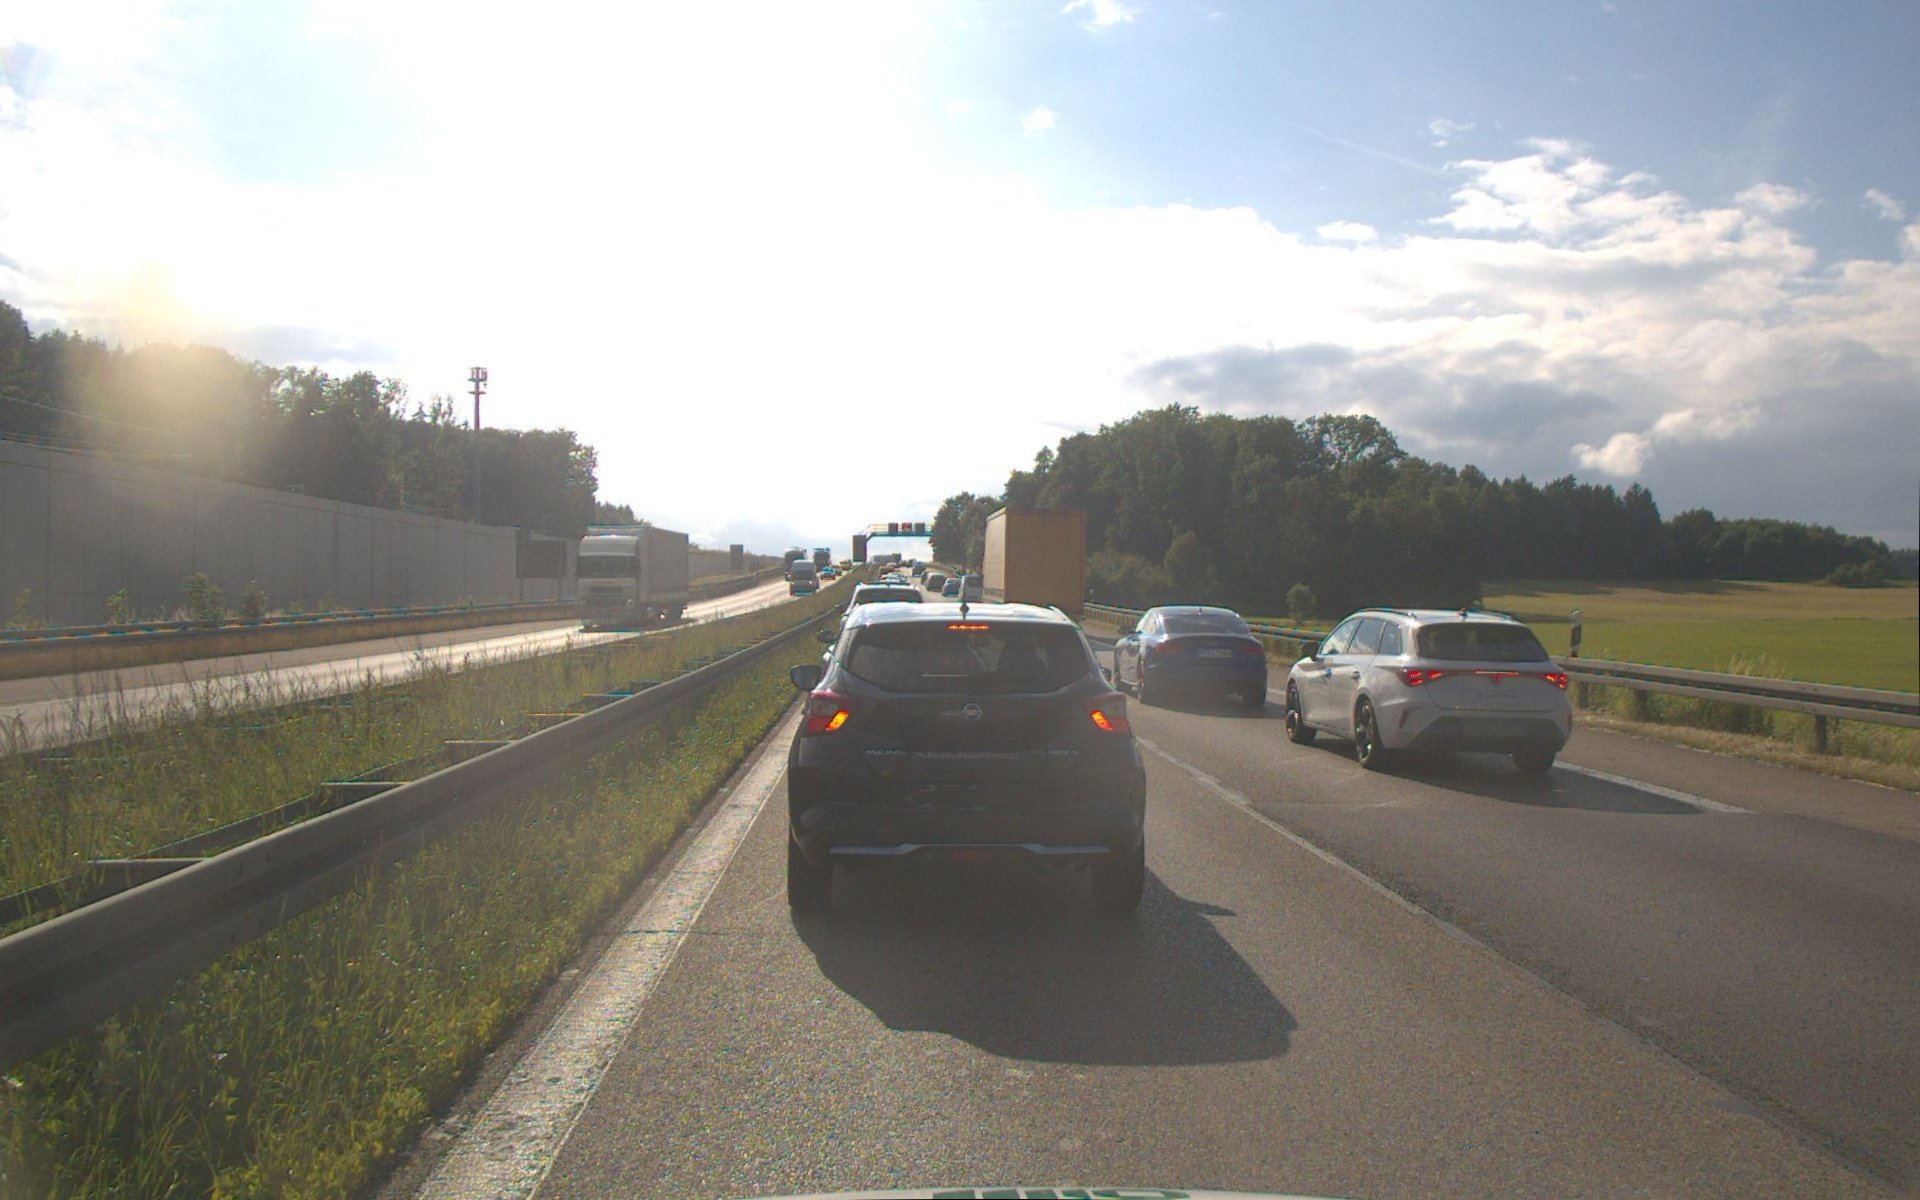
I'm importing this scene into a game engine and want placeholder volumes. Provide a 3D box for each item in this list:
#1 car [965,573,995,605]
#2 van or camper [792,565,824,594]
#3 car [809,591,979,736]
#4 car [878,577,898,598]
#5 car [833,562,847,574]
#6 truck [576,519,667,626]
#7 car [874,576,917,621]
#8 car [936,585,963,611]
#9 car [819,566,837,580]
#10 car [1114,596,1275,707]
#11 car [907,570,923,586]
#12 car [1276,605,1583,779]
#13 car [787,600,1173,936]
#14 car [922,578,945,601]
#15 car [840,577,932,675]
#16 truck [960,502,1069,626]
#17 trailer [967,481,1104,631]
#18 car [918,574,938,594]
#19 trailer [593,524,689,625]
[{"bbox_3d":[1.155,-0.632,95.849,1.633,1.785,3.326,1,0,-1],"label":"car"},{"bbox_3d":[-12.588,-1.704,137.186,2.122,2.244,6.257,1,0,-1],"label":"van or camper"},{"bbox_3d":[-0.683,0.631,17.912,1.640,1.391,3.595,1,0,-1],"label":"car"},{"bbox_3d":[-7.151,-1.240,164.609,1.954,2.049,3.997,1,0,-3],"label":"car"},{"bbox_3d":[-16.763,-4.406,231.363,1.767,1.543,4.689,1,0,-1],"label":"car"},{"bbox_3d":[-13.888,-1.062,68.310,2.585,4.169,6.998,1,0,-3],"label":"truck"},{"bbox_3d":[-3.091,-0.050,78.816,1.954,2.049,3.997,1,0,-3],"label":"car"},{"bbox_3d":[-0.887,-0.148,135.211,1.954,2.049,3.997,1,0,-3],"label":"car"},{"bbox_3d":[-16.342,-3.341,205.507,1.953,1.512,4.397,1,0,-1],"label":"car"},{"bbox_3d":[3.413,0.721,24.761,1.712,1.501,4.145,1,0,-1],"label":"car"},{"bbox_3d":[-5.971,-2.855,217.002,1.954,2.049,3.997,1,0,-3],"label":"car"},{"bbox_3d":[4.411,0.795,16.198,1.588,1.471,4.143,1,0,-4],"label":"car"},{"bbox_3d":[0.067,0.747,8.947,1.675,1.451,3.377,1,0,-1],"label":"car"},{"bbox_3d":[-2.458,-0.933,153.463,1.954,2.049,3.997,1,0,-3],"label":"car"},{"bbox_3d":[-1.386,0.477,31.714,1.640,1.756,3.595,1,0,-1],"label":"car"},{"bbox_3d":[1.987,-1.284,63.494,3.511,4.456,6.684,1,0,-3],"label":"truck"},{"bbox_3d":[2.335,-1.326,57.125,3.478,4.535,12.714,1,0,-3],"label":"trailer"},{"bbox_3d":[-3.442,-1.698,178.727,1.954,2.049,3.997,1,0,-3],"label":"car"},{"bbox_3d":[-14.335,-1.039,75.290,2.601,4.152,12.388,1,0,-3],"label":"trailer"}]
